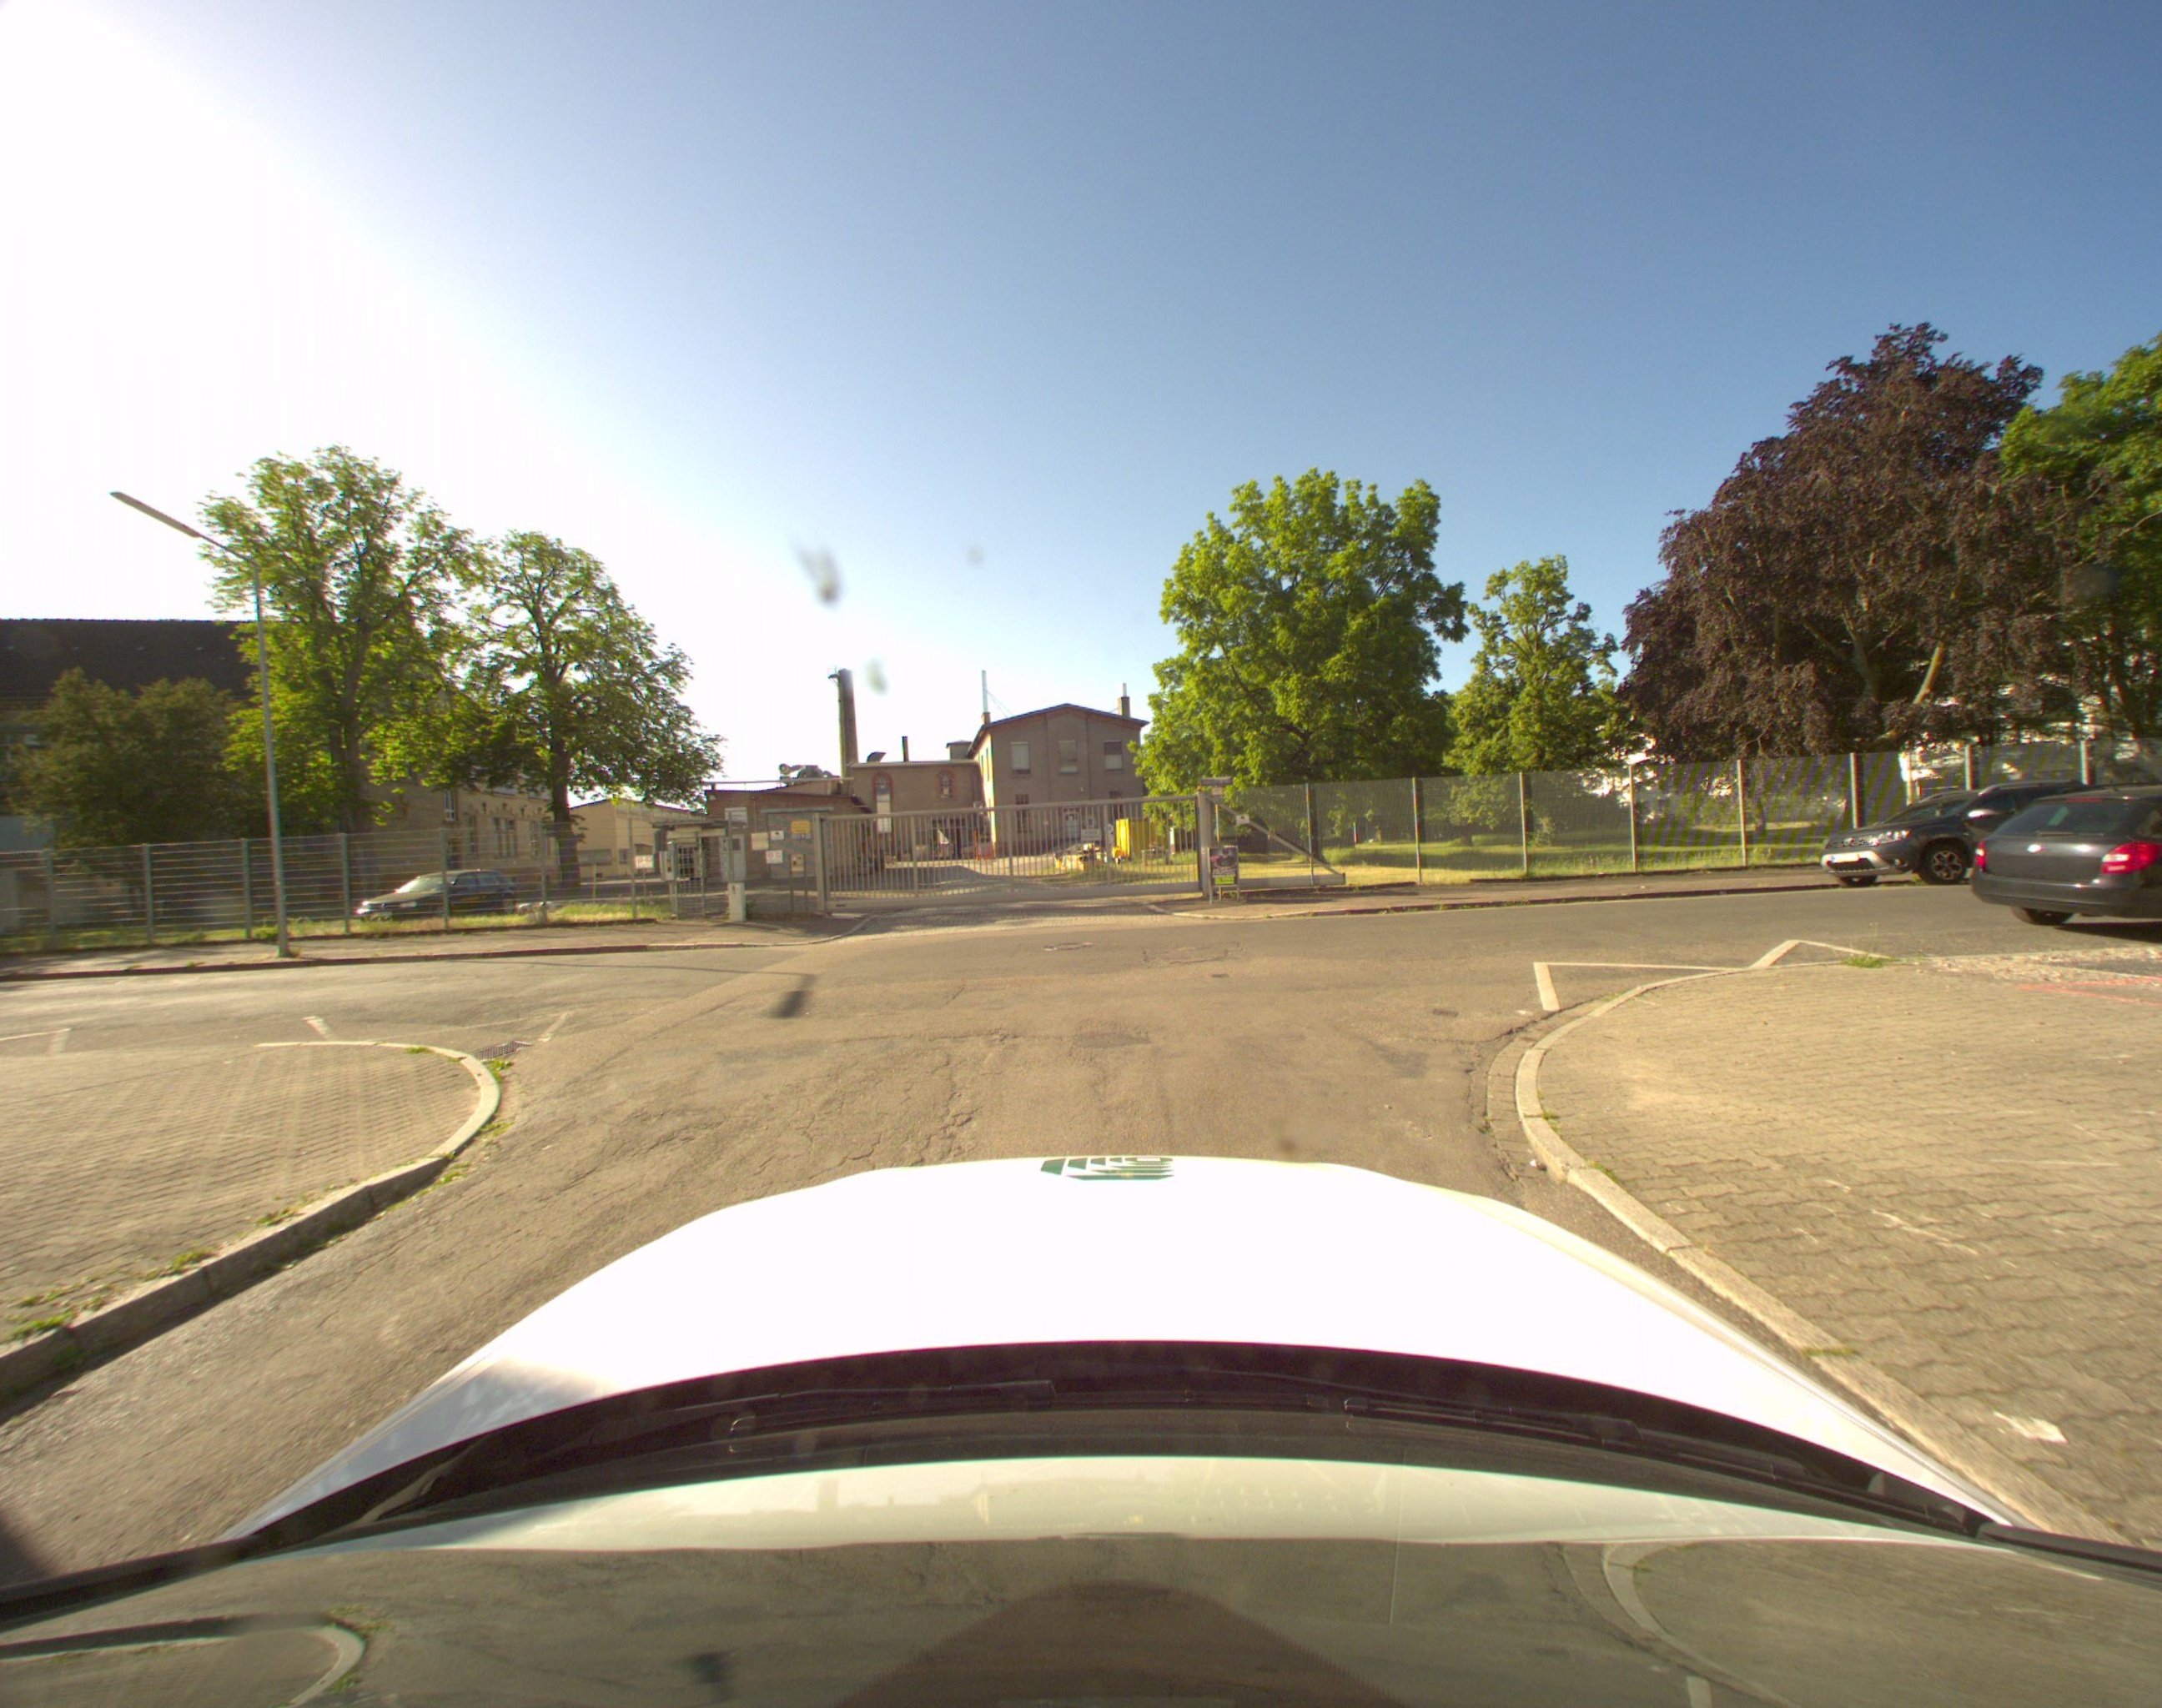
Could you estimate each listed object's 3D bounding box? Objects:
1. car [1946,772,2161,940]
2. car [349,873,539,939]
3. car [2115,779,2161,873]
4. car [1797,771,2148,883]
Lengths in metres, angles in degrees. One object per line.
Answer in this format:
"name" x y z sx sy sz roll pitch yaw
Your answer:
"car" 11.759 -0.066 8.309 4.056 1.548 1.624 -2 0 1
"car" -17.477 1.373 22.648 1.986 1.420 4.002 -3 1 2
"car" 20.850 -0.597 14.134 3.590 1.643 1.569 -3 -3 1
"car" 15.505 -0.417 14.352 4.135 1.664 1.718 -3 -3 1
